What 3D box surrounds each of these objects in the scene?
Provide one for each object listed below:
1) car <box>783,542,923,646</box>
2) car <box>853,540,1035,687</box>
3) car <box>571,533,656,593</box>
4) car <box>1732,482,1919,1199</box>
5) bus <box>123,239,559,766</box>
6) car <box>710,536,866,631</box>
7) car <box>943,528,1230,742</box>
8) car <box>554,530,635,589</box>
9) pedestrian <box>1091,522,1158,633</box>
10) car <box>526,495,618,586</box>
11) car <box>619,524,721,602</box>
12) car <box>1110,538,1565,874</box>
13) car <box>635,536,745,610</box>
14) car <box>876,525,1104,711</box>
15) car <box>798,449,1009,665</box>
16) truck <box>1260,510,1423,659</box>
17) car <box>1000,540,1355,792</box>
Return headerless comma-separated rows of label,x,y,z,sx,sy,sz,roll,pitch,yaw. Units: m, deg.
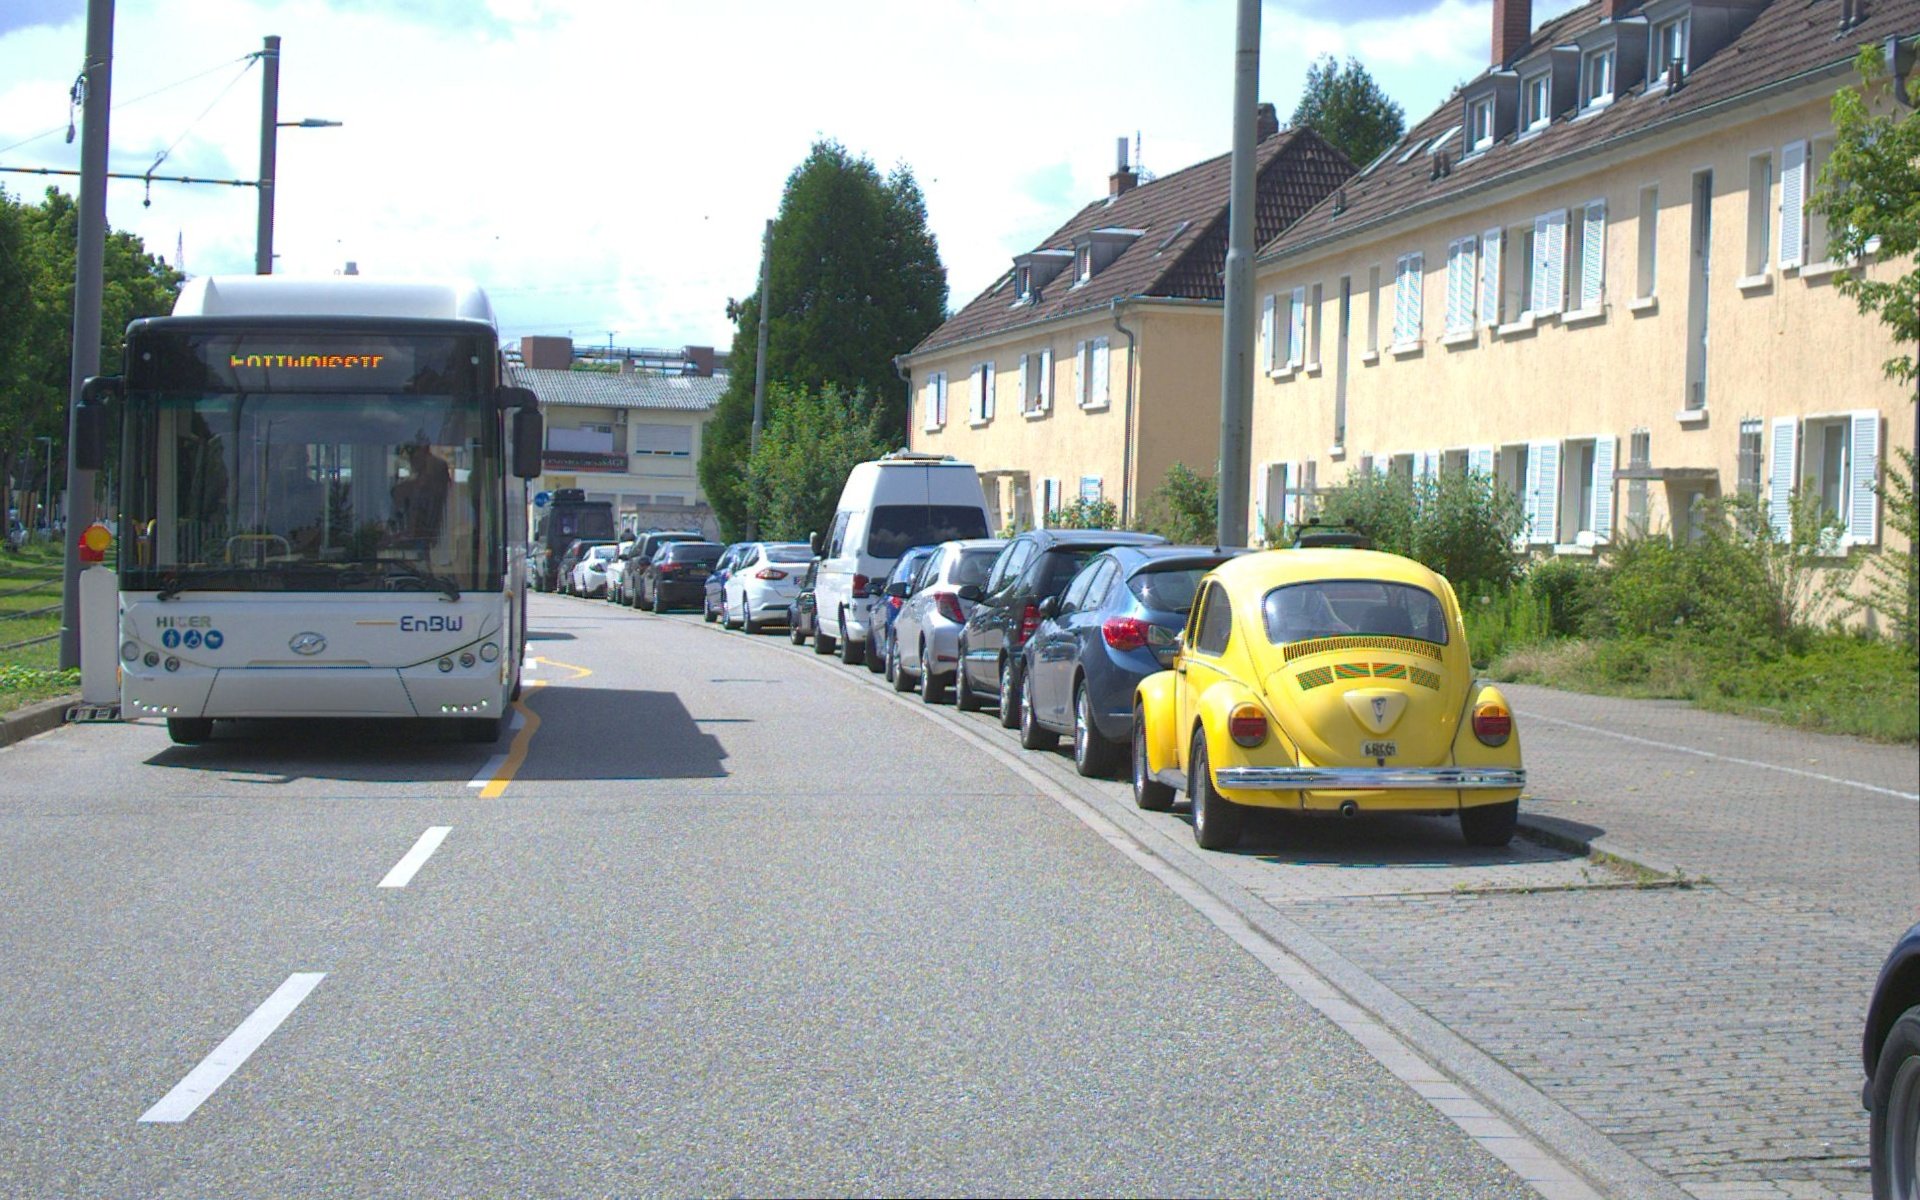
car,-1.511,-0.096,47.532,1.340,1.336,3.289,2,0,-12
car,-0.223,0.109,37.357,1.536,1.440,3.738,2,1,-6
car,-8.635,-0.943,85.446,1.763,1.435,4.001,0,1,-11
car,2.642,0.642,5.470,1.548,1.635,4.247,2,1,-4
bus,-4.735,-0.750,28.486,2.635,3.401,12.251,0,1,-6
car,-2.820,-0.281,55.267,1.798,1.453,4.767,0,1,-12
car,0.975,0.233,28.611,1.636,1.597,3.933,2,1,-8
car,-9.642,-1.089,90.527,1.763,1.497,4.001,0,1,-11
pedestrian,2.492,-0.346,52.157,0.853,1.646,0.637,2,1,-6
car,-10.928,-1.694,96.482,1.959,2.470,6.062,0,1,-12
car,-6.317,-0.822,74.537,1.763,1.637,4.001,0,1,-11
car,1.832,0.454,17.834,1.636,1.477,3.932,-1,2,-4
car,-5.477,-0.565,69.453,1.763,1.412,4.001,0,1,-11
car,0.226,0.122,32.755,1.636,1.597,4.030,2,1,-6
car,-0.783,-0.547,42.685,1.929,2.472,5.519,1,1,-8
truck,4.508,-0.192,40.860,1.346,1.683,2.442,2,0,-7
car,1.368,0.373,23.179,1.636,1.477,4.125,2,1,-6
